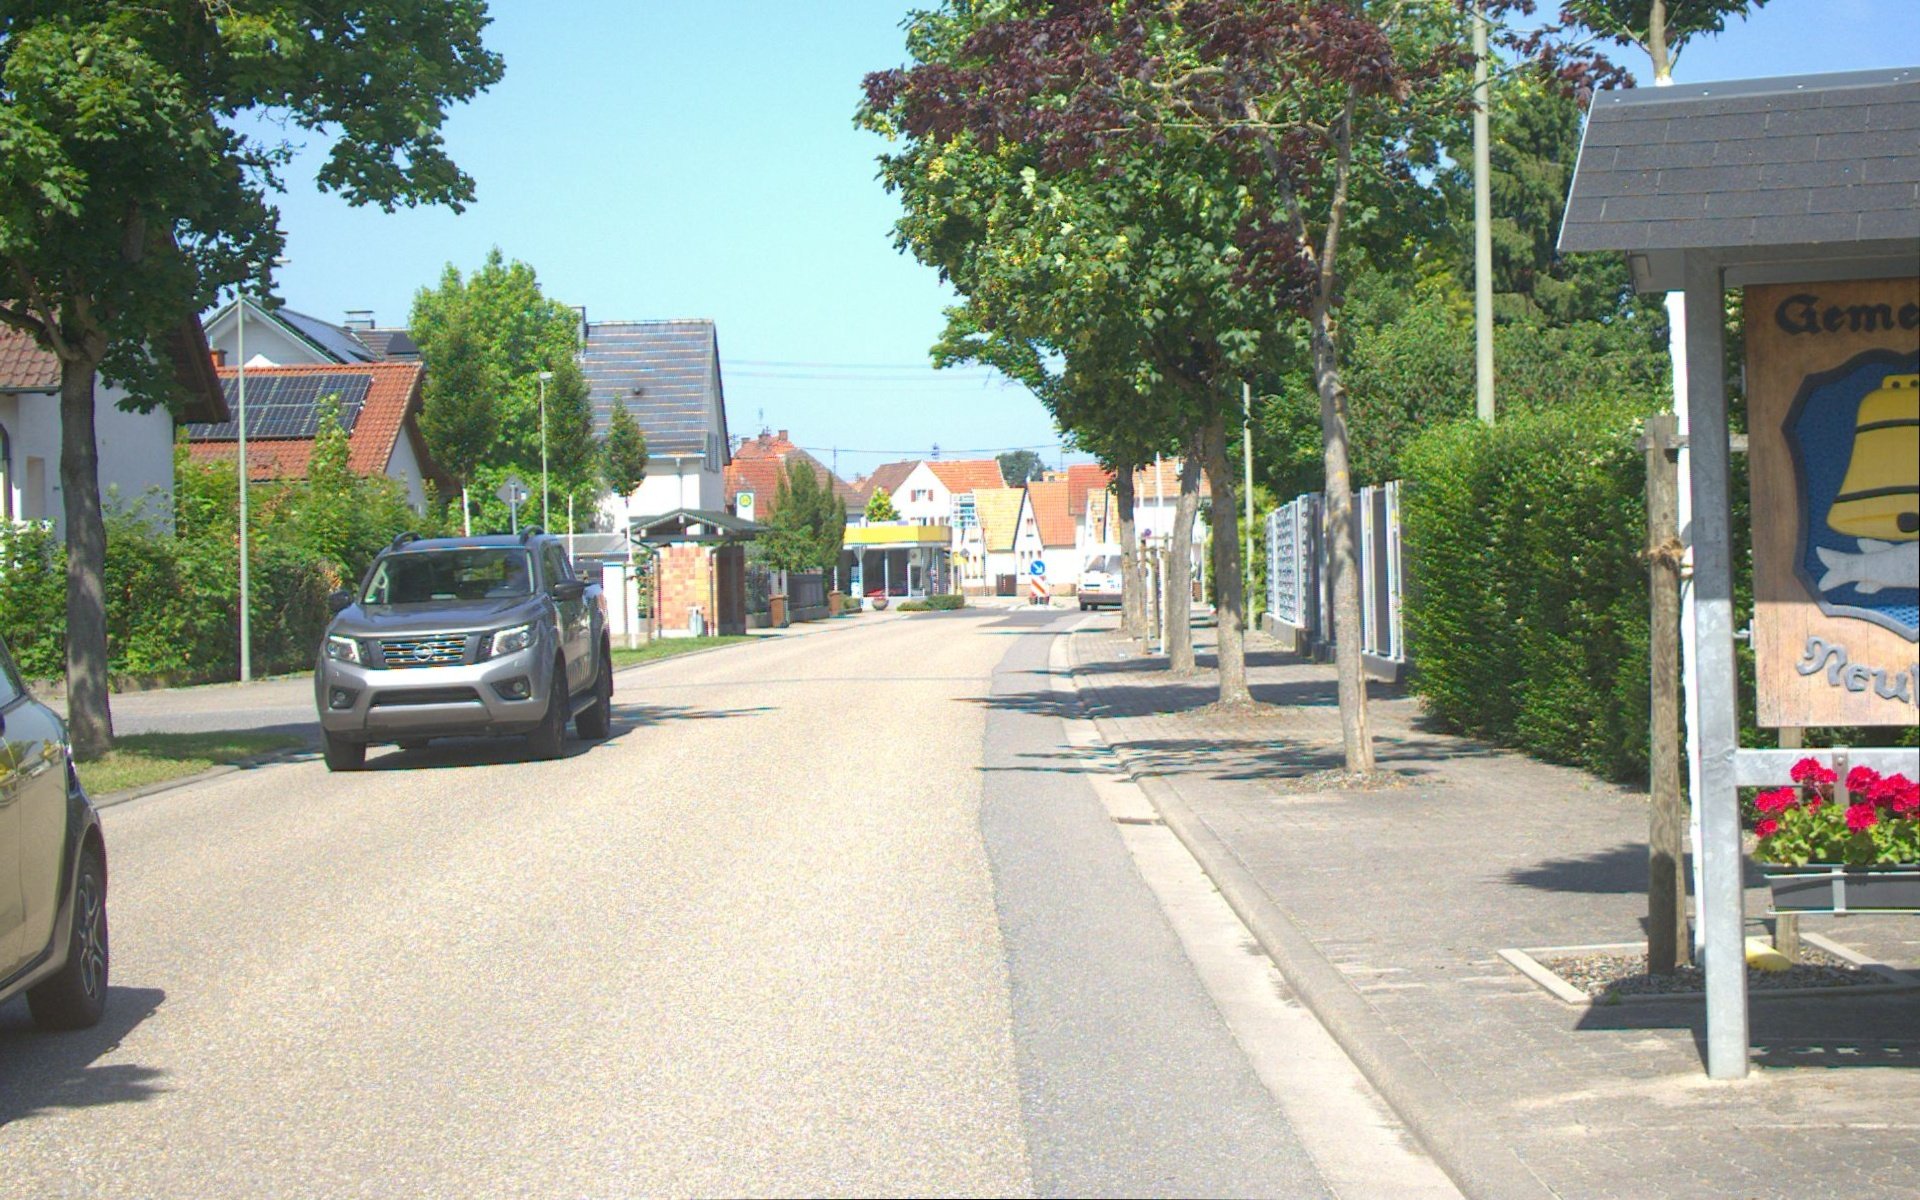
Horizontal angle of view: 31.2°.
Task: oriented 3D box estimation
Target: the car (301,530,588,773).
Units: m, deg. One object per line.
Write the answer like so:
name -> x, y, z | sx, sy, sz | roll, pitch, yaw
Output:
car -> -4.105, 0.363, 27.922 | 1.835, 1.747, 3.796 | -3, 1, -2

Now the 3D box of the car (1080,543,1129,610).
car -> 5.378, -0.881, 128.190 | 1.738, 2.424, 4.374 | -2, 1, 2

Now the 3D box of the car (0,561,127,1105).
car -> -3.550, 0.680, 9.772 | 1.665, 1.519, 3.443 | -2, 1, -4
